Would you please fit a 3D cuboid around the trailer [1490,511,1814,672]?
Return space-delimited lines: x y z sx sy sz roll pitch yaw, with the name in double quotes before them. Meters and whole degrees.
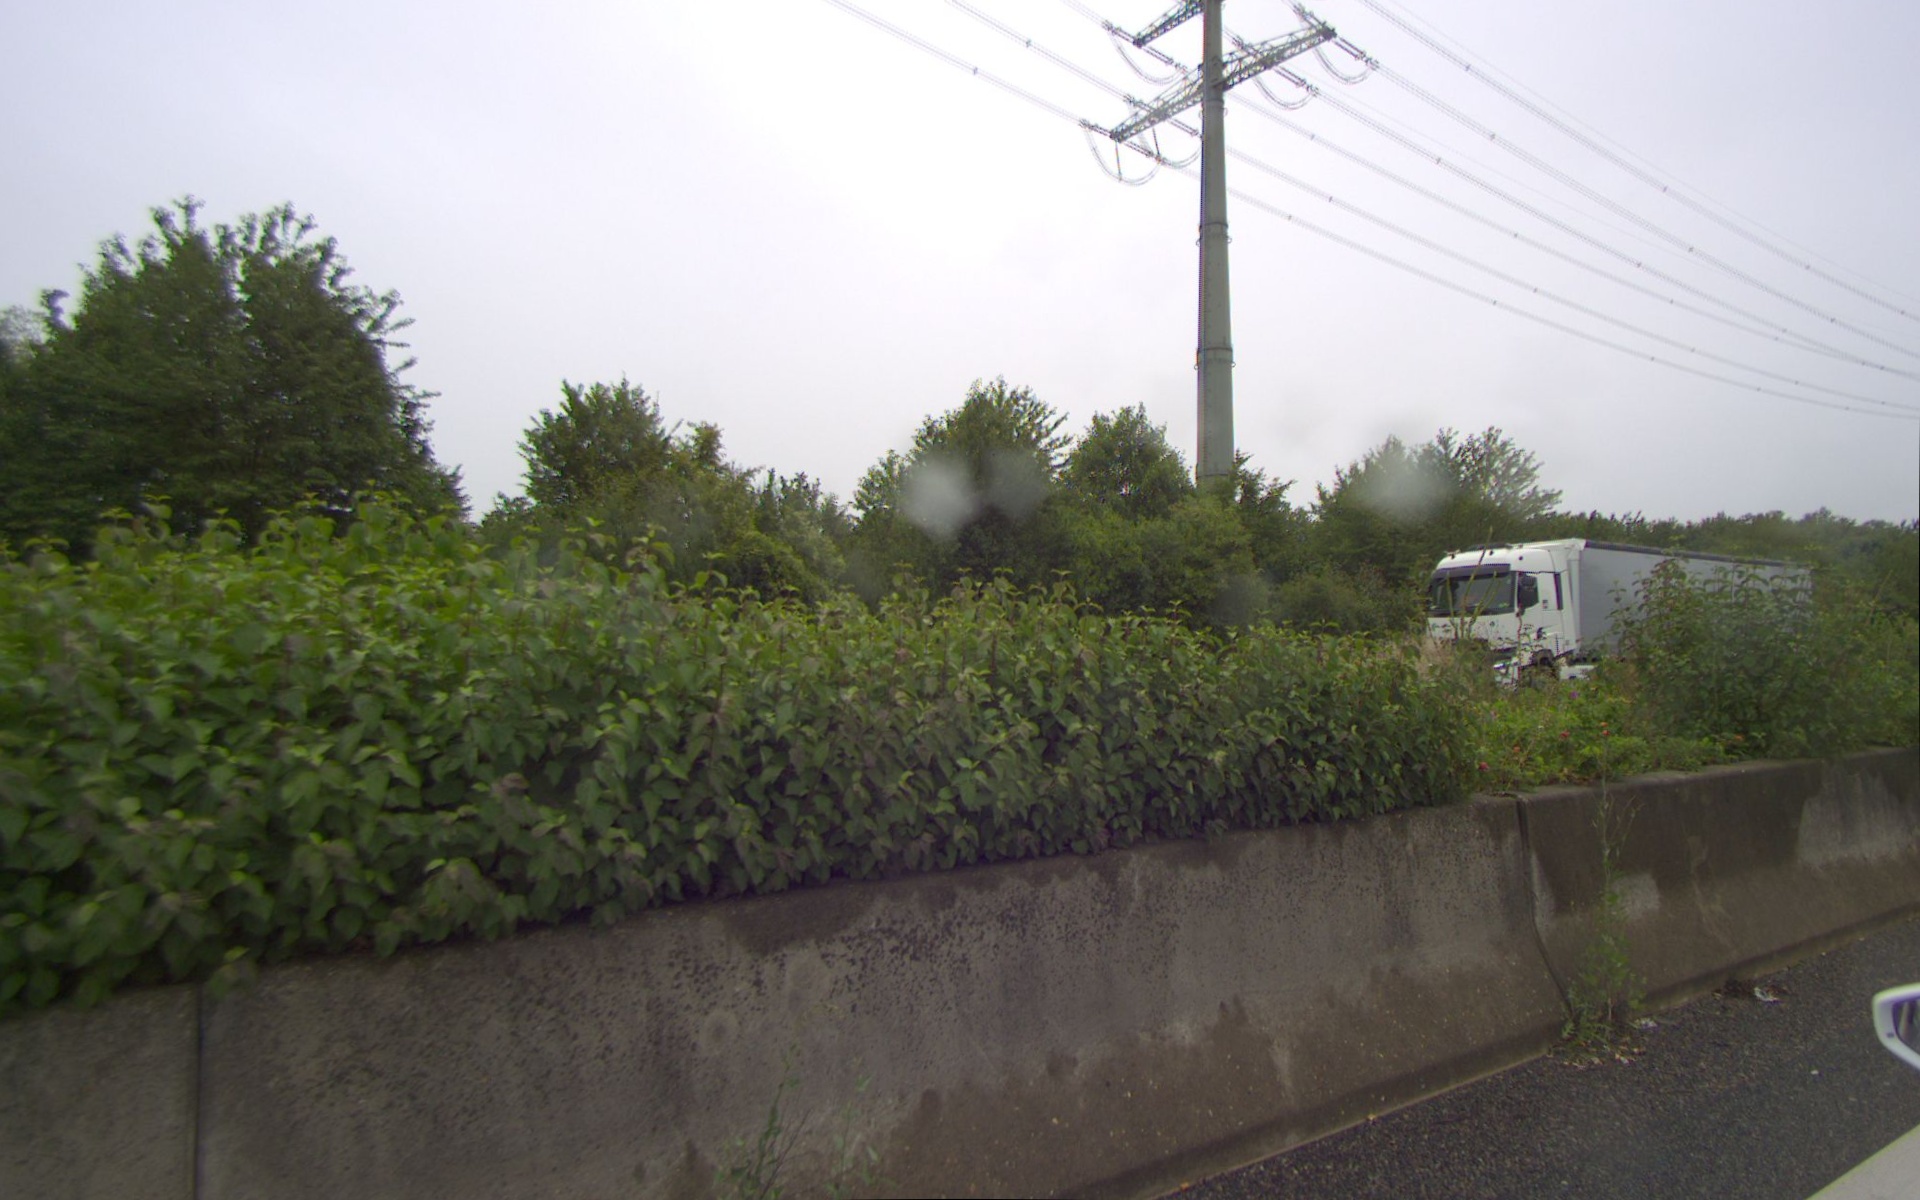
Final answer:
"trailer" 21.033 -0.003 30.021 13.100 4.076 2.772 1 -4 -31

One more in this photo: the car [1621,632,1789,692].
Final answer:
"car" 16.929 1.367 22.801 3.953 1.224 1.667 1 -1 -30

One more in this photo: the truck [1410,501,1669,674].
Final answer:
"truck" 15.460 -0.143 26.658 7.151 4.076 2.772 1 -4 -31
